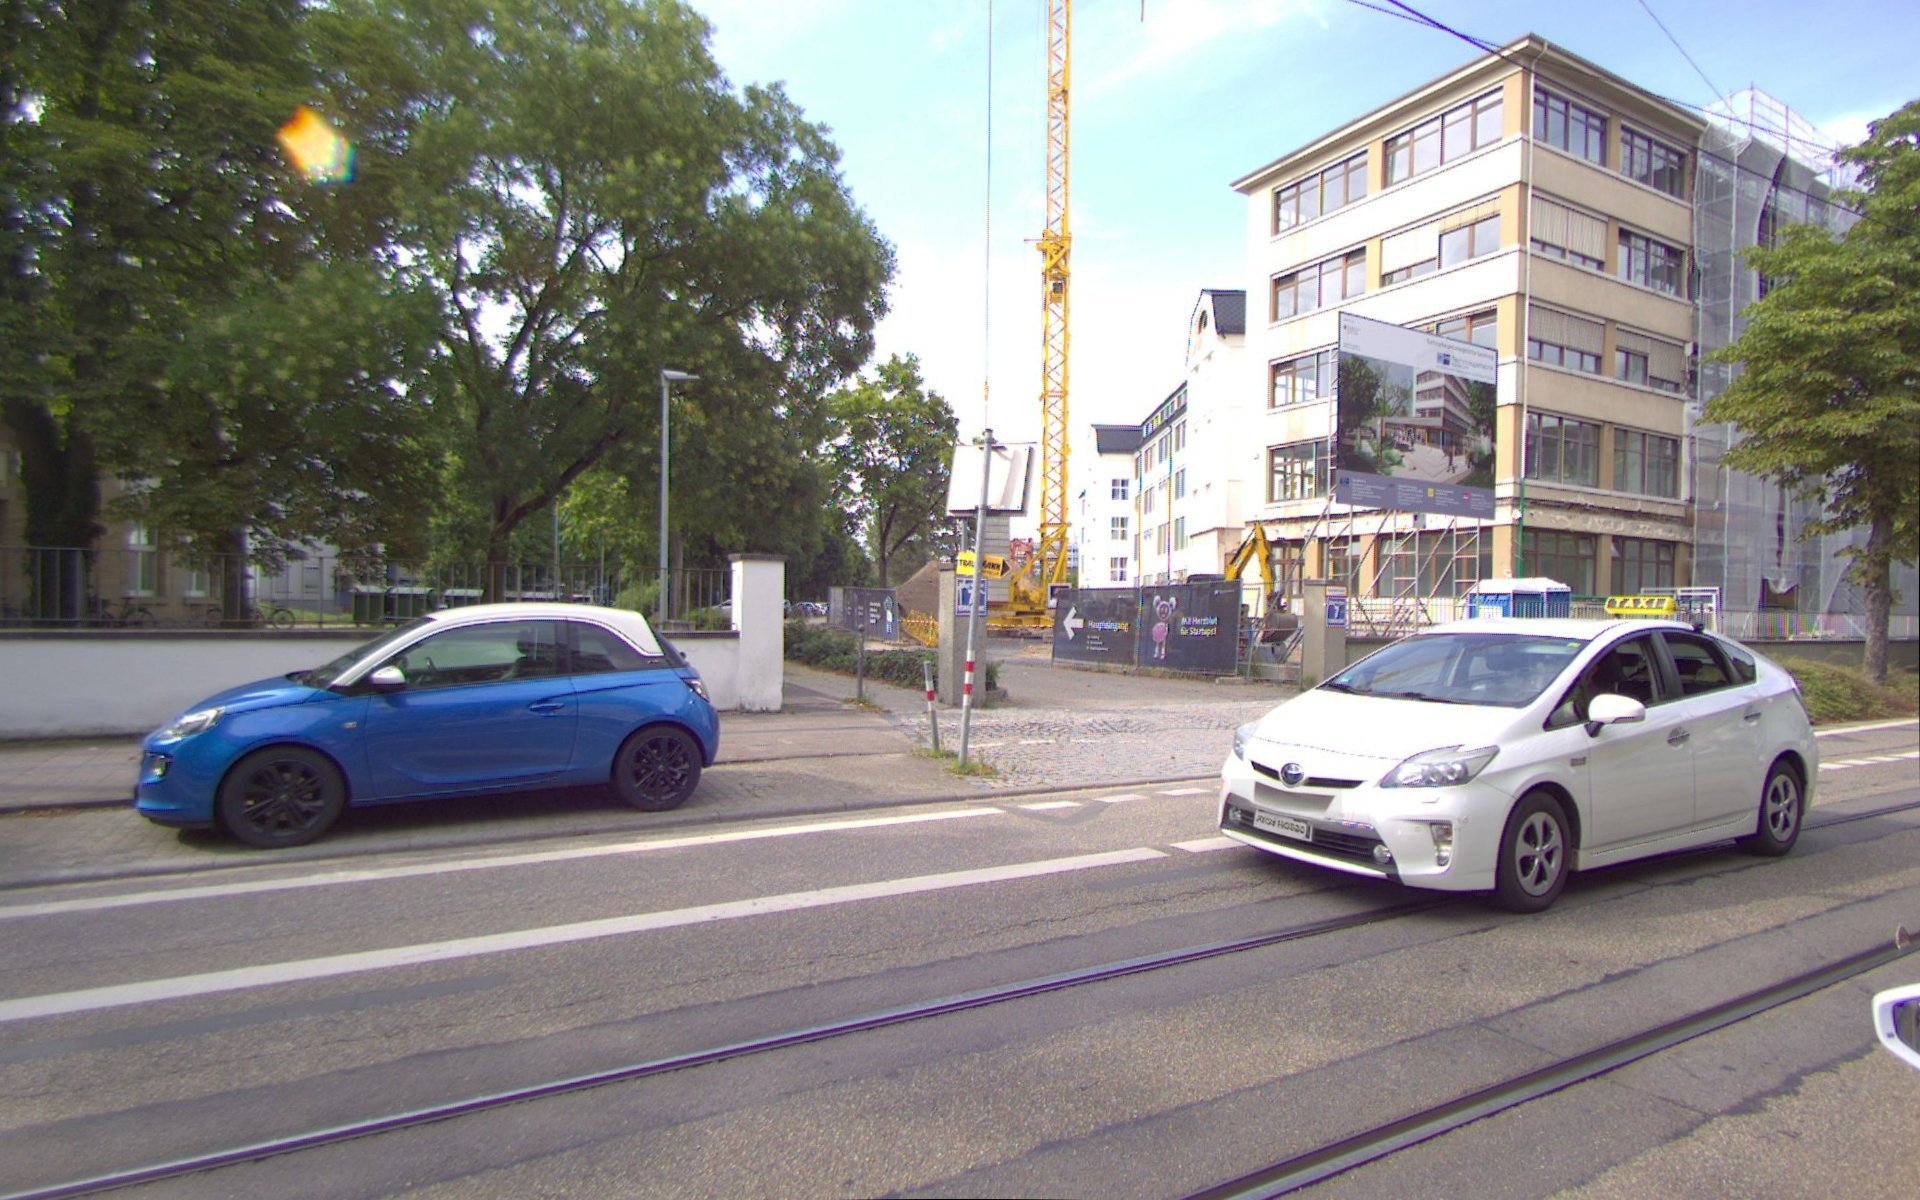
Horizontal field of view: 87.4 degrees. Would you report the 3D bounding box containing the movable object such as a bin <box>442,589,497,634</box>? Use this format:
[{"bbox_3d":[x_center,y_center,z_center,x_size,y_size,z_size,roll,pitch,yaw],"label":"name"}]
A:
[{"bbox_3d":[-16.438,0.381,33.709,1.259,1.449,1.122,2,0,-2],"label":"movable object such as a bin"}]

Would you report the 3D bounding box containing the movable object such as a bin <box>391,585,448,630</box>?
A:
[{"bbox_3d":[-18.011,0.242,33.510,1.259,1.449,1.122,2,0,-2],"label":"movable object such as a bin"}]

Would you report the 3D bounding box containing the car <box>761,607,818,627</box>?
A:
[{"bbox_3d":[-14.534,1.440,85.993,4.719,1.508,1.997,2,0,-8],"label":"car"}]

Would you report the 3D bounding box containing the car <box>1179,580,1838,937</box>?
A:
[{"bbox_3d":[3.613,0.771,6.427,4.282,1.634,1.724,1,-1,-30],"label":"car"}]

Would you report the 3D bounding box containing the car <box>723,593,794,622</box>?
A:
[{"bbox_3d":[-15.177,0.569,75.893,4.965,1.979,1.999,2,0,-4],"label":"car"}]

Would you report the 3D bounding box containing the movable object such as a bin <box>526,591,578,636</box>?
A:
[{"bbox_3d":[-13.582,0.456,33.471,1.259,1.449,1.122,2,0,-2],"label":"movable object such as a bin"}]

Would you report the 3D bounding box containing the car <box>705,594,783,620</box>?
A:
[{"bbox_3d":[-13.826,0.450,64.602,4.719,1.508,1.997,2,0,-8],"label":"car"}]

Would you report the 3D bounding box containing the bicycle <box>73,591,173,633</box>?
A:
[{"bbox_3d":[-22.345,0.325,26.864,1.953,1.057,0.590,1,1,-28],"label":"bicycle"}]

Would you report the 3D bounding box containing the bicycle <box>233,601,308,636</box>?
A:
[{"bbox_3d":[-22.200,0.593,32.356,1.940,1.057,0.594,1,1,-4],"label":"bicycle"}]

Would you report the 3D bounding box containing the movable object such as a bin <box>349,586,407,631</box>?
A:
[{"bbox_3d":[-19.374,0.291,33.446,1.259,1.449,1.122,2,0,-2],"label":"movable object such as a bin"}]

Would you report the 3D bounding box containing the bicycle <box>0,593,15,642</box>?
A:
[{"bbox_3d":[-21.832,0.355,21.820,1.940,1.057,0.594,1,1,-4],"label":"bicycle"}]

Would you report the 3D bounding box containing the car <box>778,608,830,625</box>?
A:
[{"bbox_3d":[-14.692,1.541,94.804,4.719,1.508,1.997,2,0,-8],"label":"car"}]

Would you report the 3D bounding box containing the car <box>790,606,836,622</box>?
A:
[{"bbox_3d":[-15.500,1.472,105.877,4.719,1.508,1.997,2,0,-8],"label":"car"}]

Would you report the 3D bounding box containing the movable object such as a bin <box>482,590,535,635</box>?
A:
[{"bbox_3d":[-15.099,0.421,33.636,1.259,1.449,1.122,2,0,-2],"label":"movable object such as a bin"}]

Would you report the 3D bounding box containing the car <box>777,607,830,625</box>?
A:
[{"bbox_3d":[-14.307,1.477,91.979,4.719,1.508,1.997,2,0,-8],"label":"car"}]

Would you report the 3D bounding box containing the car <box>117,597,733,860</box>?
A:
[{"bbox_3d":[-3.636,0.757,7.308,3.560,1.484,1.620,1,0,-30],"label":"car"}]

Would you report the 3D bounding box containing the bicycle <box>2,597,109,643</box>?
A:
[{"bbox_3d":[-21.859,0.473,24.301,1.940,1.057,0.594,1,1,-4],"label":"bicycle"}]

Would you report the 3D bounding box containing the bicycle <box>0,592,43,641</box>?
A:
[{"bbox_3d":[-21.916,0.349,22.600,1.940,1.057,0.594,1,1,-4],"label":"bicycle"}]

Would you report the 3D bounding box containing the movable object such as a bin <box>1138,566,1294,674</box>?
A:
[{"bbox_3d":[6.283,0.480,24.991,2.459,2.475,3.048,2,0,-19],"label":"movable object such as a bin"}]

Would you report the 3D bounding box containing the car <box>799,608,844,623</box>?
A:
[{"bbox_3d":[-15.022,1.643,108.889,4.719,1.508,1.997,2,0,-8],"label":"car"}]

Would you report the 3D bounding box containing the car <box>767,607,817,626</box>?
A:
[{"bbox_3d":[-14.780,1.470,88.657,4.268,1.564,1.751,2,0,-8],"label":"car"}]

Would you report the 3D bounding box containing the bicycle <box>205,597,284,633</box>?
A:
[{"bbox_3d":[-22.079,0.464,31.000,1.940,1.057,0.594,1,1,-4],"label":"bicycle"}]

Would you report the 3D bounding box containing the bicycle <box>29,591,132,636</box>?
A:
[{"bbox_3d":[-21.944,0.326,25.081,1.940,1.057,0.594,1,1,-4],"label":"bicycle"}]

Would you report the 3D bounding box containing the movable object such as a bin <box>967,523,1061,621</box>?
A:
[{"bbox_3d":[4.258,-1.870,75.039,3.781,6.758,10.988,2,0,20],"label":"movable object such as a bin"}]
